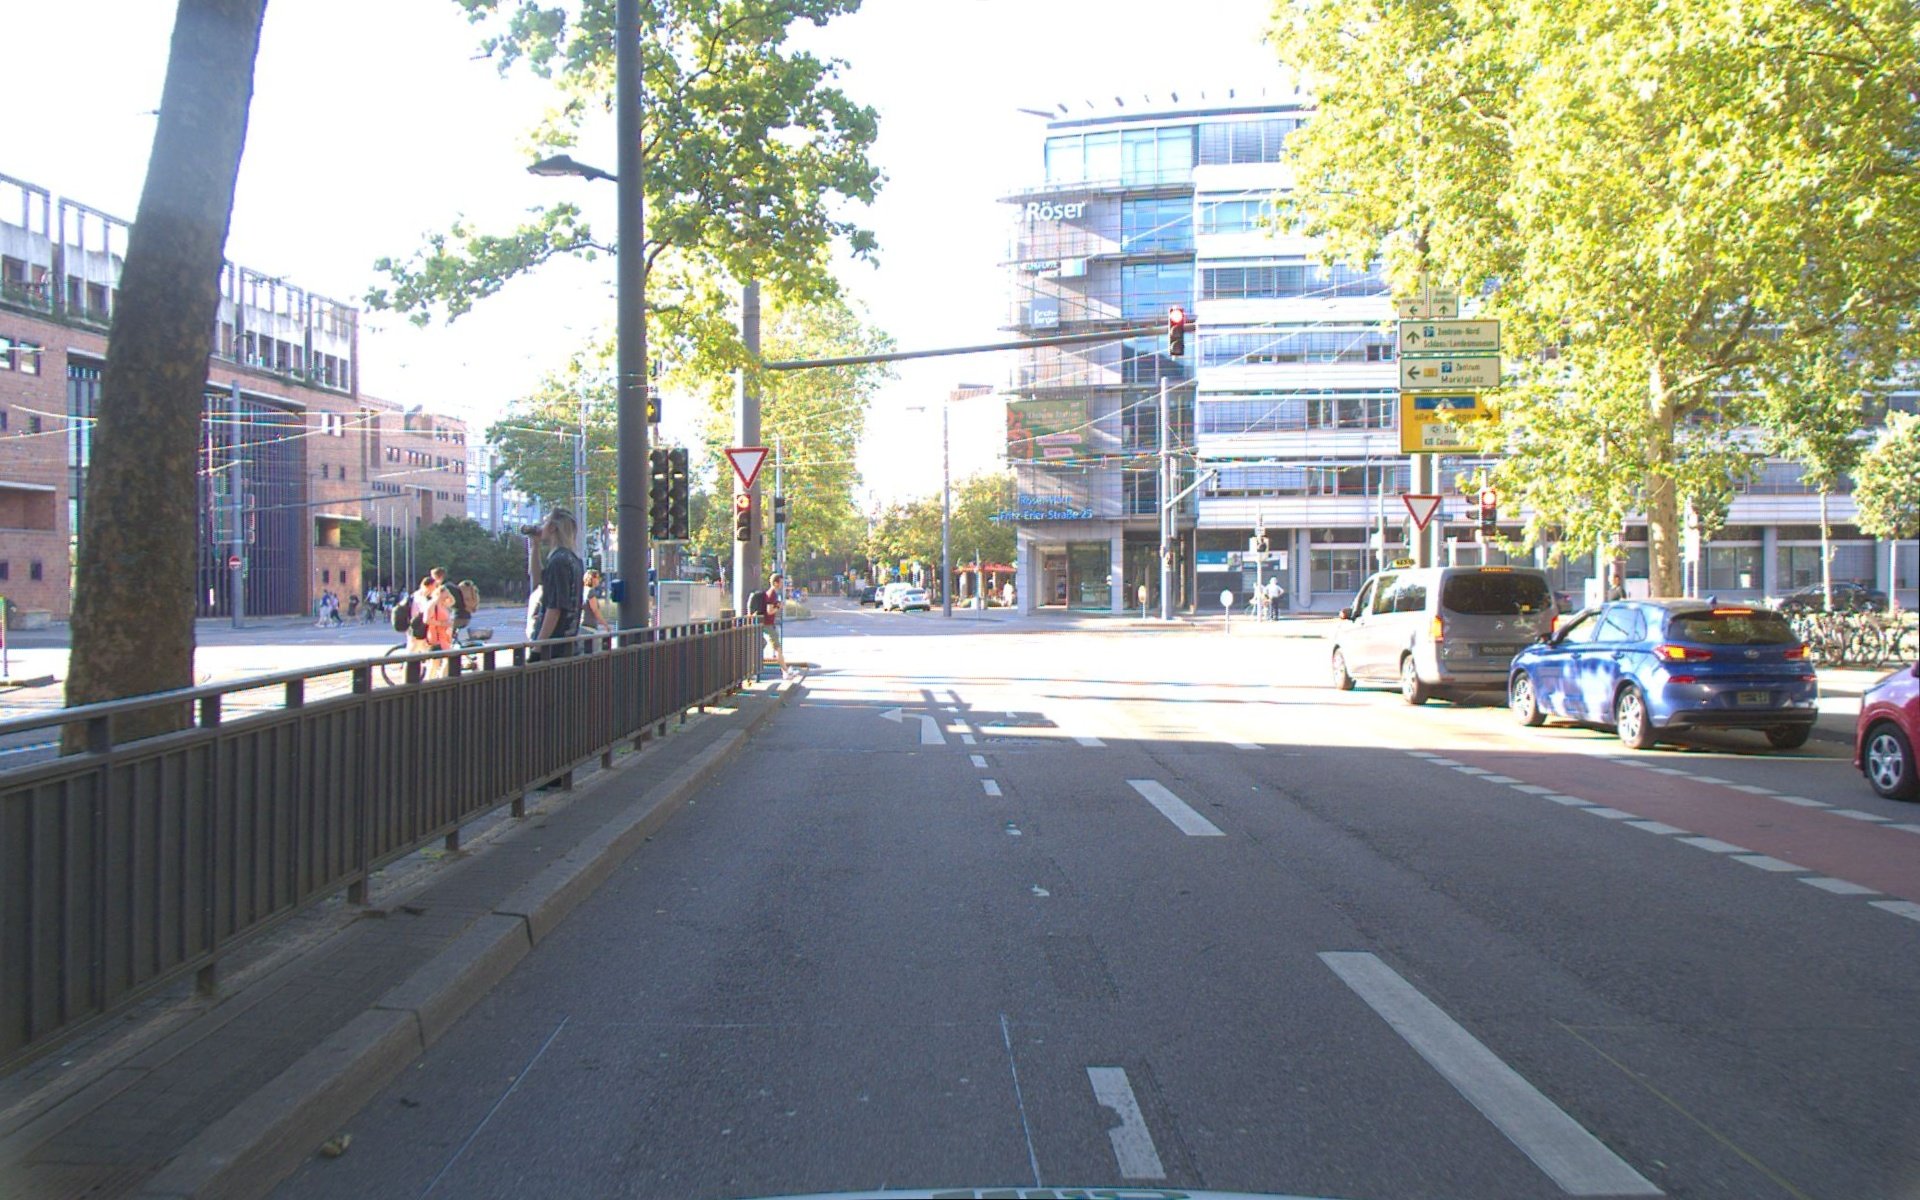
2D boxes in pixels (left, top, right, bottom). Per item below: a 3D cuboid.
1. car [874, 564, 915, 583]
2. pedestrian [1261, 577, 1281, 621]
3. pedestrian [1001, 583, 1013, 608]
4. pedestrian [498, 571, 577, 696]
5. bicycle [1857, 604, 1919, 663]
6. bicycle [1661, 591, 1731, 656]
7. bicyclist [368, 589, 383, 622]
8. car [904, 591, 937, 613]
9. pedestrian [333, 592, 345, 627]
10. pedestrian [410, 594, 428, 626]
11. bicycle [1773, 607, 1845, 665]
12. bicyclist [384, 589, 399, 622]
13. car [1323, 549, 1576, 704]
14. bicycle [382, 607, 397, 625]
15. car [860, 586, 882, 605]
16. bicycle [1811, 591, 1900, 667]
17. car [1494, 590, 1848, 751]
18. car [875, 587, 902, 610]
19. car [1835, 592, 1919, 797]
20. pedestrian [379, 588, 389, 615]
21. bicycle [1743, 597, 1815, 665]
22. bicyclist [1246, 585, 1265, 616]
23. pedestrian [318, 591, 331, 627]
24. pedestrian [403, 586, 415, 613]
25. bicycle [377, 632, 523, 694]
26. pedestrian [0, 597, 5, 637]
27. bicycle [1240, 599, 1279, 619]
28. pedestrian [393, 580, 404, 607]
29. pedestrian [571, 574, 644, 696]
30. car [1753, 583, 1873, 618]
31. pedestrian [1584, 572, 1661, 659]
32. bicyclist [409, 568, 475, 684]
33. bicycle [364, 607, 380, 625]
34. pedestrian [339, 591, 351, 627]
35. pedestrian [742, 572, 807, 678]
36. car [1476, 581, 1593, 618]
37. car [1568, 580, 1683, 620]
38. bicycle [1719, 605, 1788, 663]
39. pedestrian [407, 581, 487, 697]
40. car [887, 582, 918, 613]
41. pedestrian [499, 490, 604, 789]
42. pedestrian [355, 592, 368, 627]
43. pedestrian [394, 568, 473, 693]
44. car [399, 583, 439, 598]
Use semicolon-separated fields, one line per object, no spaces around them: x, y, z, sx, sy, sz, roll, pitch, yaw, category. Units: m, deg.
-6.436;-2.602;161.971;3.681;1.780;1.783;1;0;11;car
12.346;-0.049;65.627;0.705;1.711;0.557;1;0;4;pedestrian
2.931;-0.281;103.194;0.725;1.491;0.536;-1;0;-5;pedestrian
-6.601;0.518;25.881;1.124;1.927;0.831;1;0;-10;pedestrian
16.788;0.590;29.726;0.441;1.000;1.475;-1;0;-5;bicycle
13.126;0.406;29.517;0.479;1.112;1.475;-1;0;-5;bicycle
-30.393;0.276;86.029;0.582;1.705;0.788;-1;0;-9;bicyclist
-2.556;0.125;105.035;1.954;1.355;3.997;-1;0;-3;car
-30.017;0.467;79.953;0.529;1.679;0.621;-1;0;-22;pedestrian
-26.963;0.486;82.428;0.741;1.557;0.507;1;0;-10;pedestrian
15.246;0.627;29.731;0.441;1.000;1.475;-1;0;-5;bicycle
-29.662;0.290;86.328;0.582;1.705;0.788;-1;0;-9;bicyclist
7.006;0.336;24.339;1.954;2.000;5.134;1;0;-3;car
-29.756;0.812;86.263;0.503;0.897;1.834;-1;0;-11;bicycle
-8.015;-0.396;148.576;1.954;1.691;3.997;-1;0;-3;car
16.063;0.499;29.708;0.441;1.309;1.885;-1;0;-5;bicycle
7.409;0.652;17.742;1.730;1.489;4.213;-1;0;-4;car
-5.522;-0.136;127.148;1.954;1.691;3.997;-1;0;-3;car
7.778;0.694;11.308;1.528;1.490;3.619;0;0;-3;car
-39.221;0.091;112.662;0.479;1.842;0.546;-1;0;4;pedestrian
14.605;0.538;29.530;0.441;1.164;1.475;-1;0;-5;bicycle
13.521;0.031;75.747;0.802;1.390;0.400;-1;0;2;bicyclist
-30.049;0.423;78.232;0.529;1.679;0.621;-1;0;-22;pedestrian
-38.001;-0.056;114.077;0.628;1.842;0.546;-1;0;4;pedestrian
-8.176;1.007;26.583;2.135;0.950;0.667;0;0;-6;bicycle
-39.669;0.689;67.931;0.533;1.641;0.570;-1;0;28;pedestrian
13.709;0.415;75.742;1.705;0.915;0.409;-1;0;2;bicycle
-38.255;-0.428;112.678;0.511;1.810;0.546;-1;0;4;pedestrian
-5.400;0.533;25.420;1.052;1.837;0.756;1;0;-10;pedestrian
35.973;0.018;69.817;4.151;1.417;1.796;-1;0;4;car
14.471;0.327;36.160;1.186;1.854;1.040;1;-1;-9;pedestrian
-8.313;0.404;26.567;0.833;1.816;0.752;-1;0;-5;bicyclist
-30.537;0.845;85.911;0.503;0.897;1.834;-1;0;-11;bicycle
-29.400;0.432;79.052;0.529;1.679;0.621;-1;0;-22;pedestrian
-3.081;0.412;27.514;1.053;1.745;0.627;1;0;-7;pedestrian
23.466;-0.023;67.651;4.153;1.417;1.796;-1;0;1;car
28.134;0.001;69.988;4.152;1.587;1.796;-1;0;3;car
14.082;0.591;29.377;0.412;0.996;1.475;-1;0;-5;bicycle
-7.708;0.587;24.887;1.053;1.711;0.756;1;0;-10;pedestrian
-3.905;-0.181;111.681;1.954;2.026;3.997;-1;0;-3;car
-2.733;0.259;11.123;0.499;1.933;0.759;1;-1;-2;pedestrian
-28.709;0.451;79.328;0.529;1.679;0.621;-1;0;-22;pedestrian
-8.134;0.467;25.578;1.054;1.904;0.737;1;0;-10;pedestrian
-59.979;-1.053;183.492;3.952;1.579;1.588;1;0;-35;car
